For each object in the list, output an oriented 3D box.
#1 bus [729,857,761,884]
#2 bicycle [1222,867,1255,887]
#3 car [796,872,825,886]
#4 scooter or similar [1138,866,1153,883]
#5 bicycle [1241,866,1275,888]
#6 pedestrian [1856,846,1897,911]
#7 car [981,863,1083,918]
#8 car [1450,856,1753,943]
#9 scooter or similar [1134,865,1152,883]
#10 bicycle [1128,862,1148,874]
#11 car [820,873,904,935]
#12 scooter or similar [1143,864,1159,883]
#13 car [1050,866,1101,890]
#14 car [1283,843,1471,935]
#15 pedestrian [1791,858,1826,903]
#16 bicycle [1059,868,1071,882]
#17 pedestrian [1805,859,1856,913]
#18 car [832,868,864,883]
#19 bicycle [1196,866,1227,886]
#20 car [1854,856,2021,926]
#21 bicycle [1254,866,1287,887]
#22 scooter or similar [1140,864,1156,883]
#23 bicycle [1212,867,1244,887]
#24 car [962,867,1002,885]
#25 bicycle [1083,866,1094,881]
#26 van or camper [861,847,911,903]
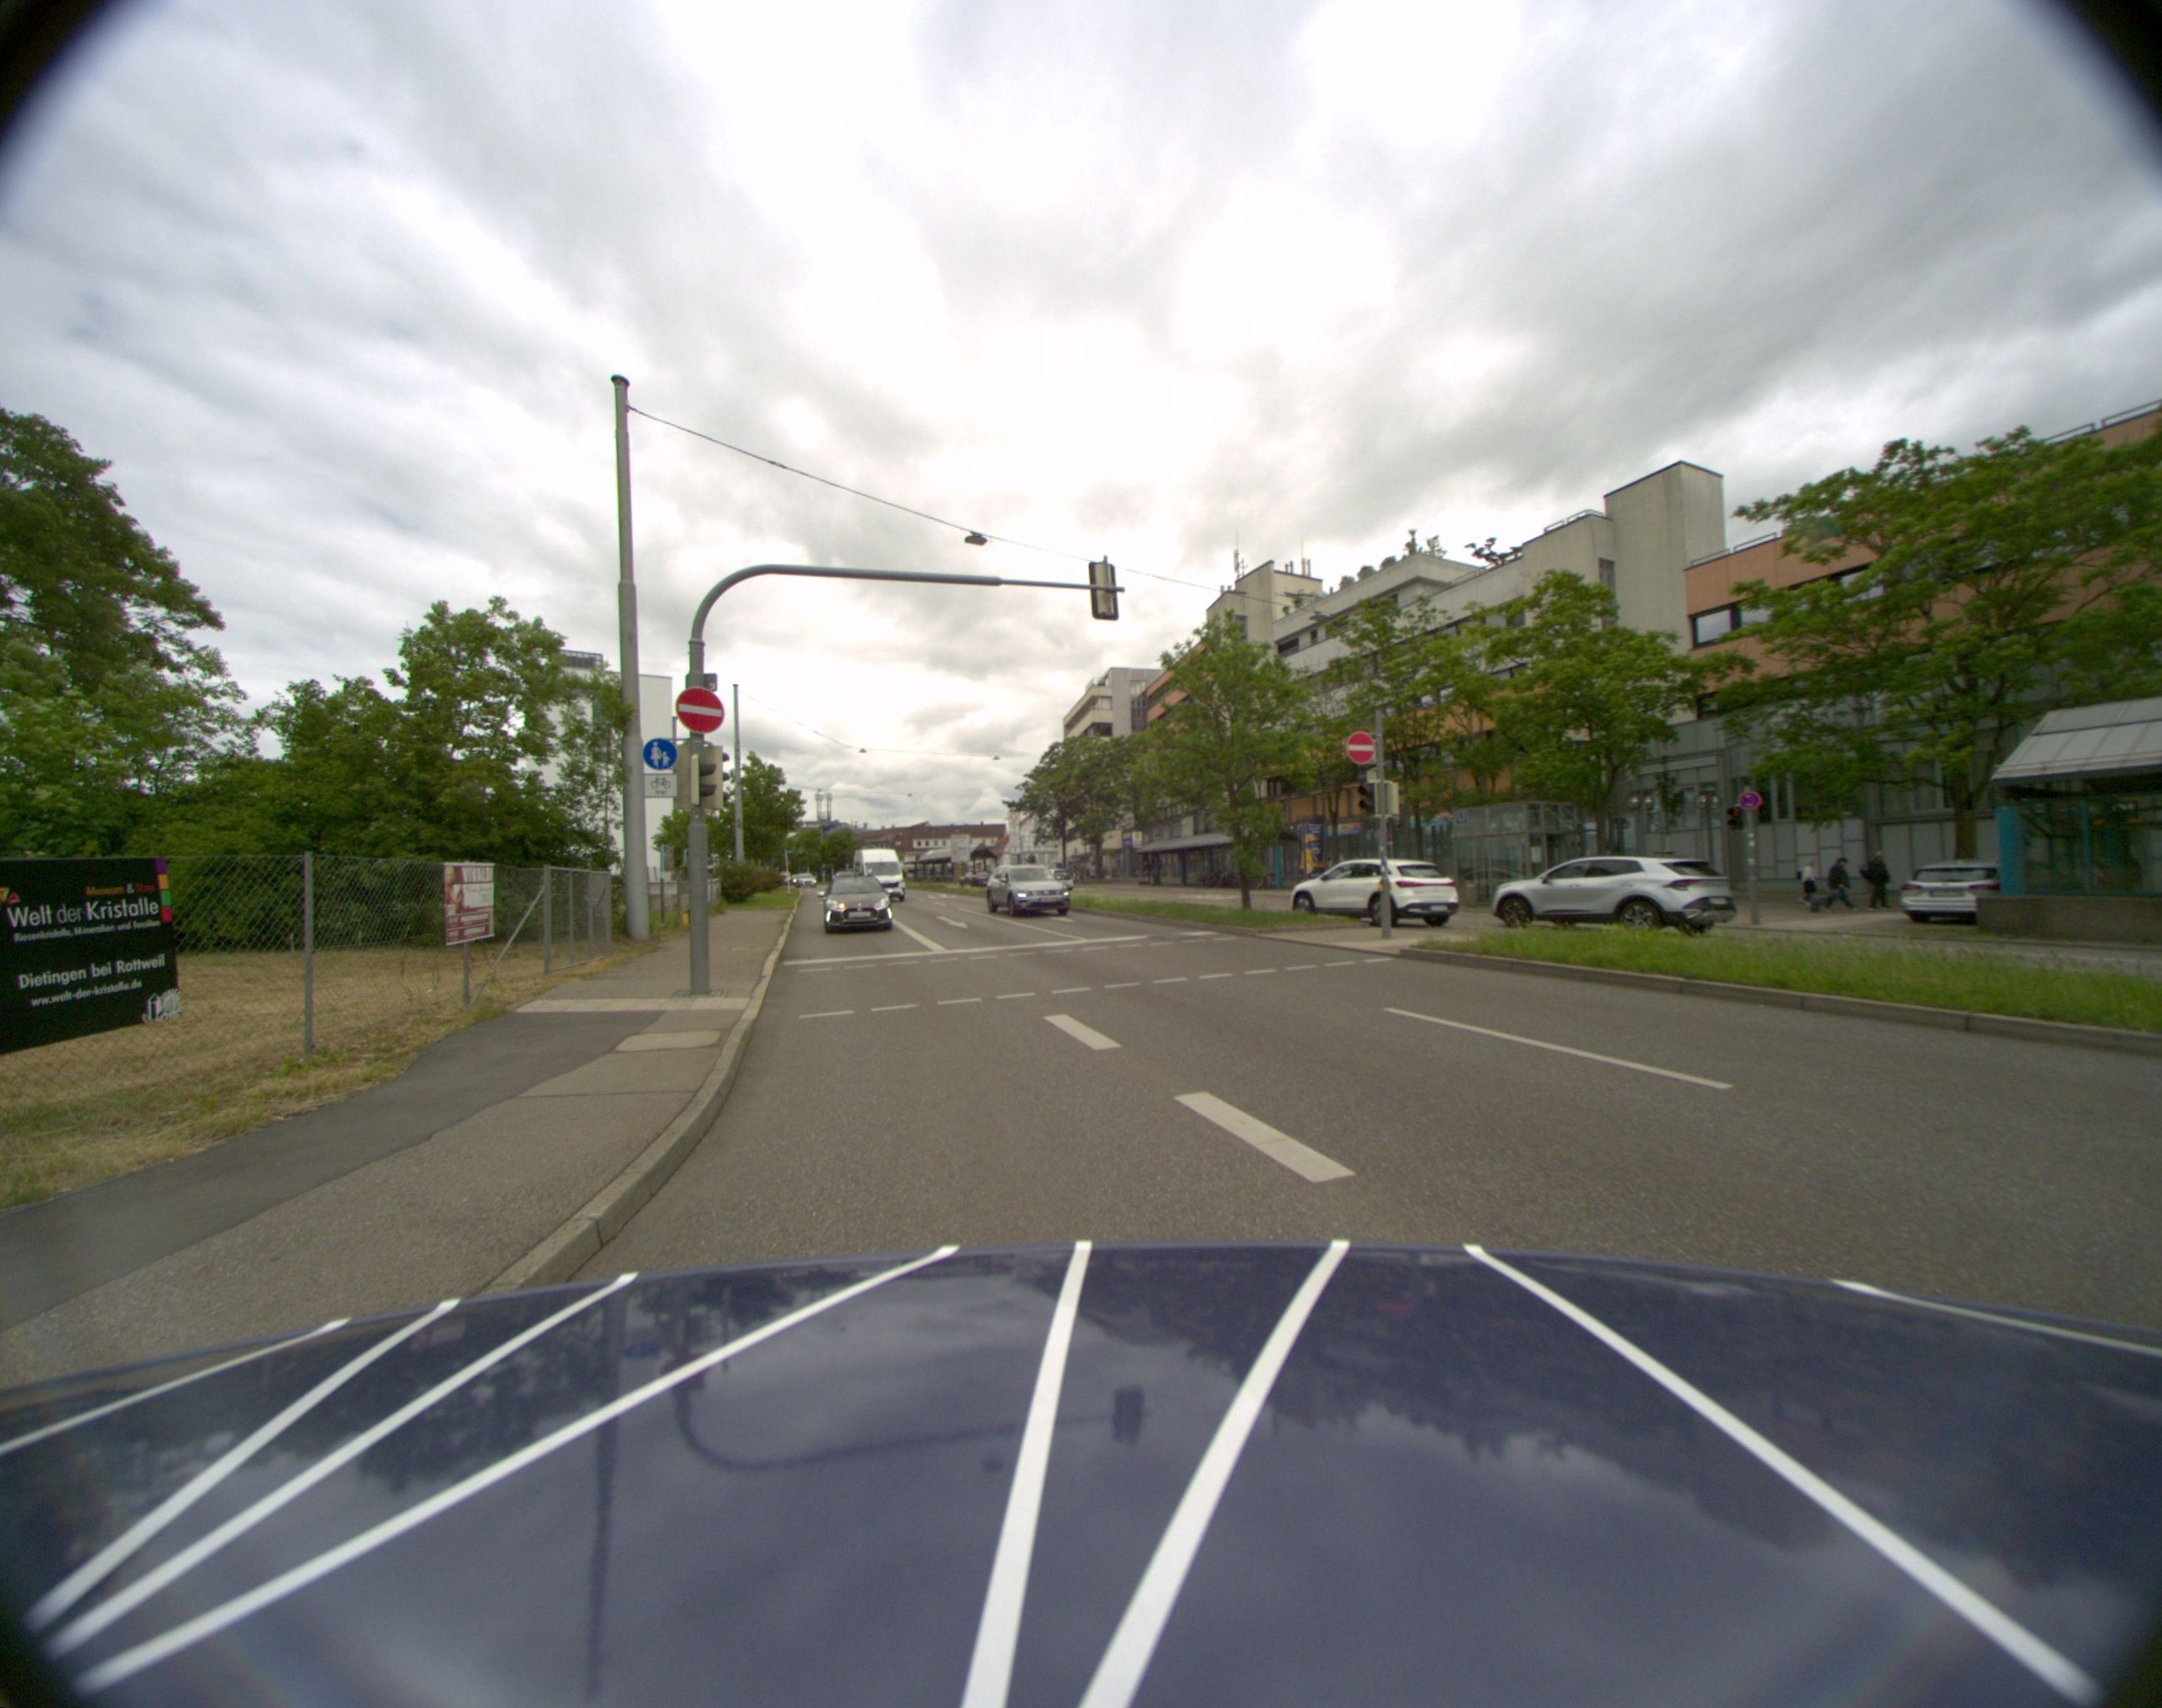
[{"bbox_3d":[-45.251,2.303,102.132,2.727,3.088,8.851,7,-6,-29],"label":"bus"},{"bbox_3d":[9.739,1.396,46.911,2.075,1.146,0.710,-1,0,-35],"label":"bicycle"},{"bbox_3d":[-27.483,2.496,77.201,2.003,1.368,3.991,-1,0,-31],"label":"car"},{"bbox_3d":[4.895,1.535,57.337,1.133,1.287,0.267,-1,0,-28],"label":"scooter or similar"},{"bbox_3d":[10.650,1.369,45.628,2.075,1.147,0.710,-5,2,-35],"label":"bicycle"},{"bbox_3d":[22.589,0.684,21.584,0.603,1.796,0.538,-1,2,1],"label":"pedestrian"},{"bbox_3d":[-1.737,1.163,25.233,2.002,1.640,4.386,-1,-1,-23],"label":"car"},{"bbox_3d":[10.914,0.873,16.510,1.774,1.576,5.258,0,-1,-25],"label":"car"},{"bbox_3d":[4.684,1.503,57.634,1.327,1.262,0.339,-3,1,-27],"label":"scooter or similar"},{"bbox_3d":[6.108,1.505,81.353,1.973,1.311,0.705,-1,0,-4],"label":"bicycle"},{"bbox_3d":[-6.153,1.328,21.044,1.866,1.515,3.994,-1,-2,-22],"label":"car"},{"bbox_3d":[5.226,1.475,56.897,1.207,1.415,0.259,-1,0,-27],"label":"scooter or similar"},{"bbox_3d":[-0.419,1.622,52.148,1.756,1.508,3.991,-1,0,-29],"label":"car"},{"bbox_3d":[7.156,0.784,18.839,2.002,2.001,4.172,-1,-1,-22],"label":"car"},{"bbox_3d":[23.155,0.827,24.184,0.603,1.388,0.538,-1,2,1],"label":"pedestrian"},{"bbox_3d":[-1.424,1.827,66.490,0.626,1.246,1.685,-1,-1,13],"label":"bicycle"},{"bbox_3d":[20.828,0.862,21.128,0.868,1.450,0.604,0,2,30],"label":"pedestrian"},{"bbox_3d":[-22.789,2.088,74.199,2.003,1.368,3.991,-1,0,-31],"label":"car"},{"bbox_3d":[8.527,1.422,49.664,2.075,1.147,0.710,-4,1,-35],"label":"bicycle"},{"bbox_3d":[20.334,0.834,18.017,4.006,1.346,1.996,-2,-2,-33],"label":"car"},{"bbox_3d":[11.177,1.308,44.763,2.075,1.146,0.710,-2,0,-35],"label":"bicycle"},{"bbox_3d":[5.056,1.470,57.113,1.207,1.377,0.221,-1,0,-27],"label":"scooter or similar"},{"bbox_3d":[9.222,1.413,47.623,2.075,1.147,0.710,-2,0,-35],"label":"bicycle"},{"bbox_3d":[-7.908,1.703,60.149,1.822,1.389,5.002,1,-1,-24],"label":"car"},{"bbox_3d":[0.666,1.727,66.527,0.626,1.246,1.685,-1,-1,13],"label":"bicycle"},{"bbox_3d":[-10.520,1.131,40.584,2.283,2.689,6.987,-1,-2,-17],"label":"van or camper"}]
